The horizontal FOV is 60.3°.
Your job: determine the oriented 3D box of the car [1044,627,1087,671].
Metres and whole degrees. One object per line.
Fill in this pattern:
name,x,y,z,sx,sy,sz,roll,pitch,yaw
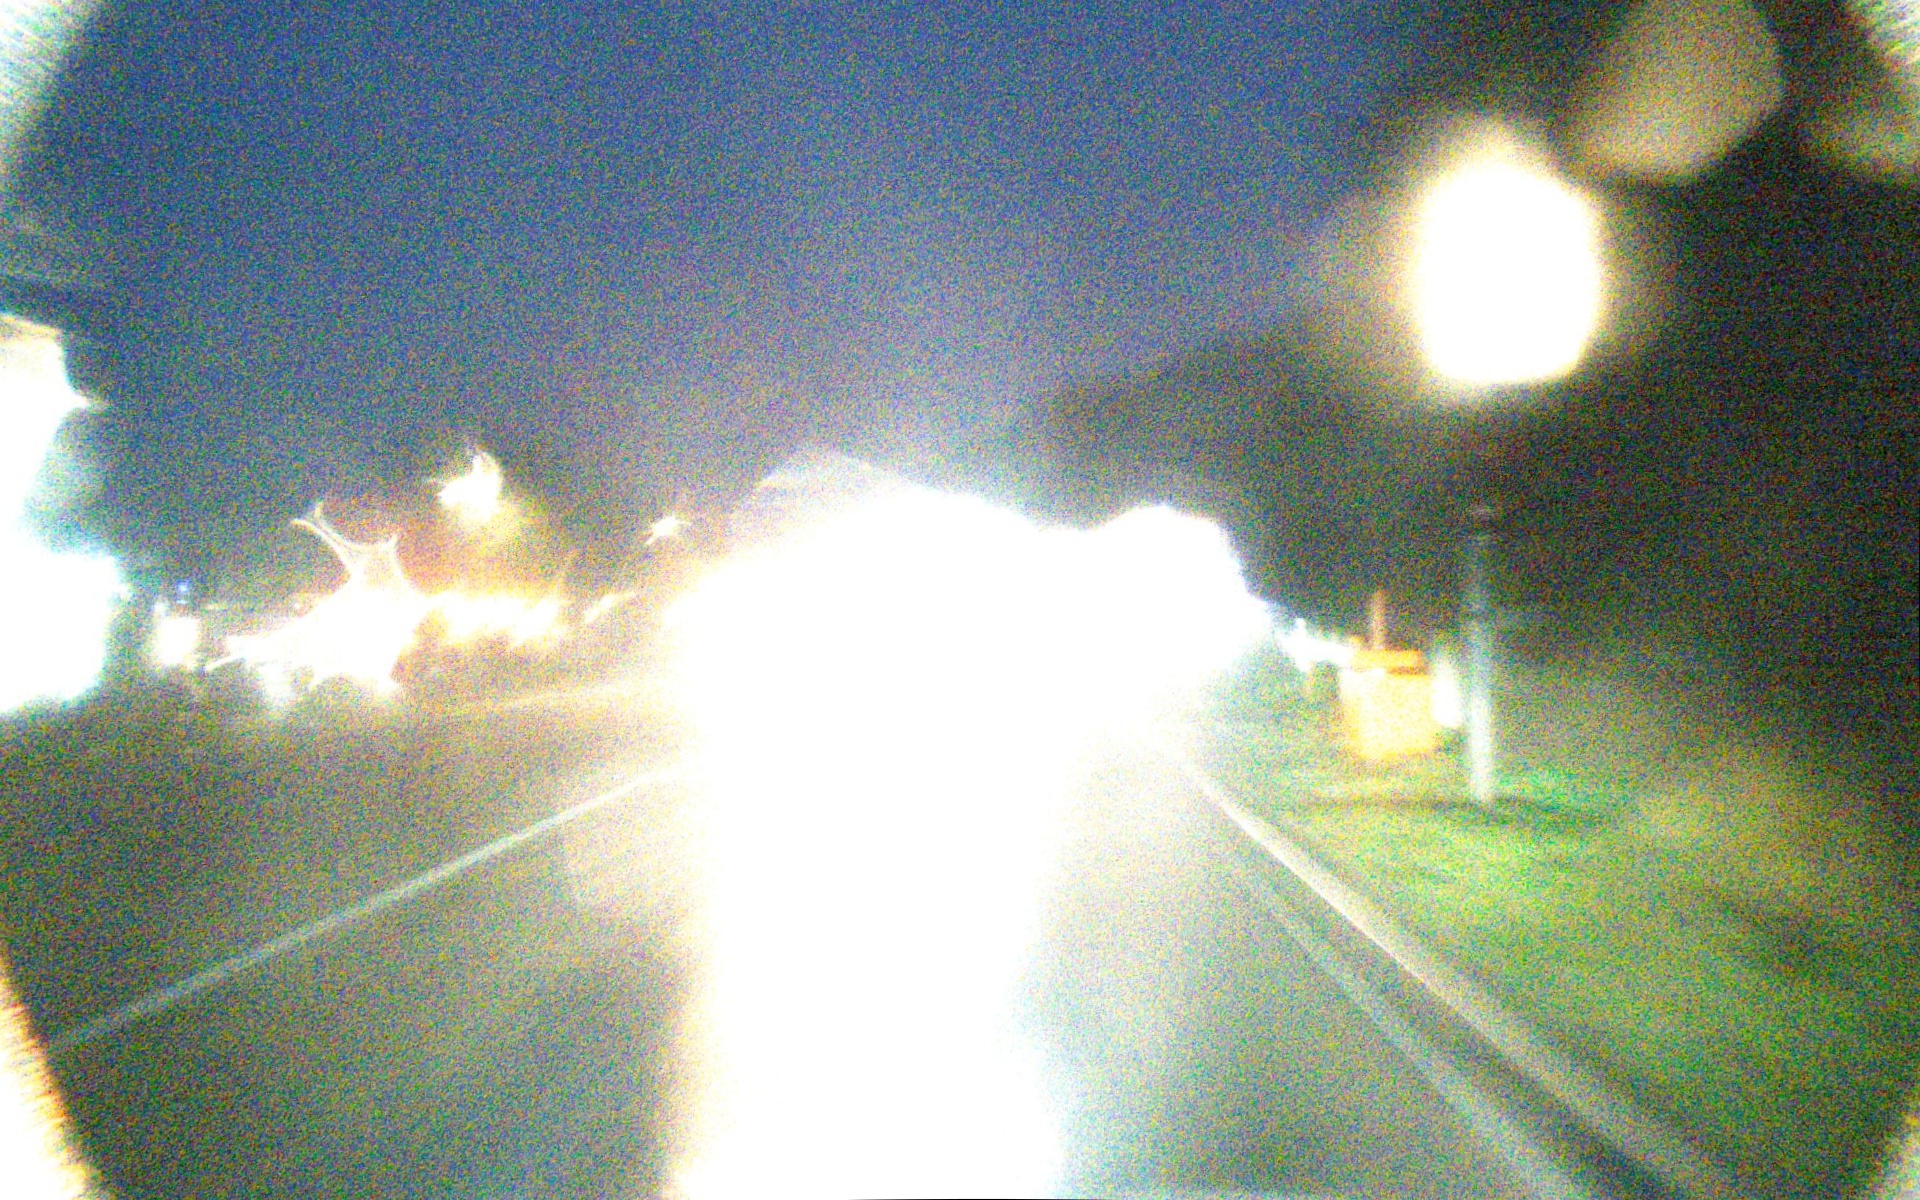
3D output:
car,5.534,2.527,86.569,1.851,2.037,4.884,3,1,7

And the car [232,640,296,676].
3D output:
car,-47.055,3.912,111.952,1.951,2.304,4.462,1,-1,8

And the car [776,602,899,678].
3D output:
car,-2.313,0.726,32.253,1.600,1.378,4.145,0,0,7

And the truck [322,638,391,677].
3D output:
truck,-41.227,3.881,113.178,2.272,2.506,6.492,1,-1,0

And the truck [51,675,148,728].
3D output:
truck,-41.413,4.873,79.692,2.040,2.155,4.496,-5,-1,2

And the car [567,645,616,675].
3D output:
car,-23.061,3.753,103.628,1.735,1.623,4.002,-6,-1,4

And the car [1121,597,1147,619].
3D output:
car,11.626,0.531,110.466,1.557,1.404,4.328,1,-1,8

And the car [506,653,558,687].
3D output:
car,-23.779,3.864,91.984,1.710,1.646,3.514,-4,-1,2

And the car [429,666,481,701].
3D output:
car,-25.765,4.284,84.321,1.791,1.594,4.169,-3,-1,-27

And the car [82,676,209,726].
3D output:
car,-30.142,3.734,61.311,3.925,1.668,1.990,1,0,-18
